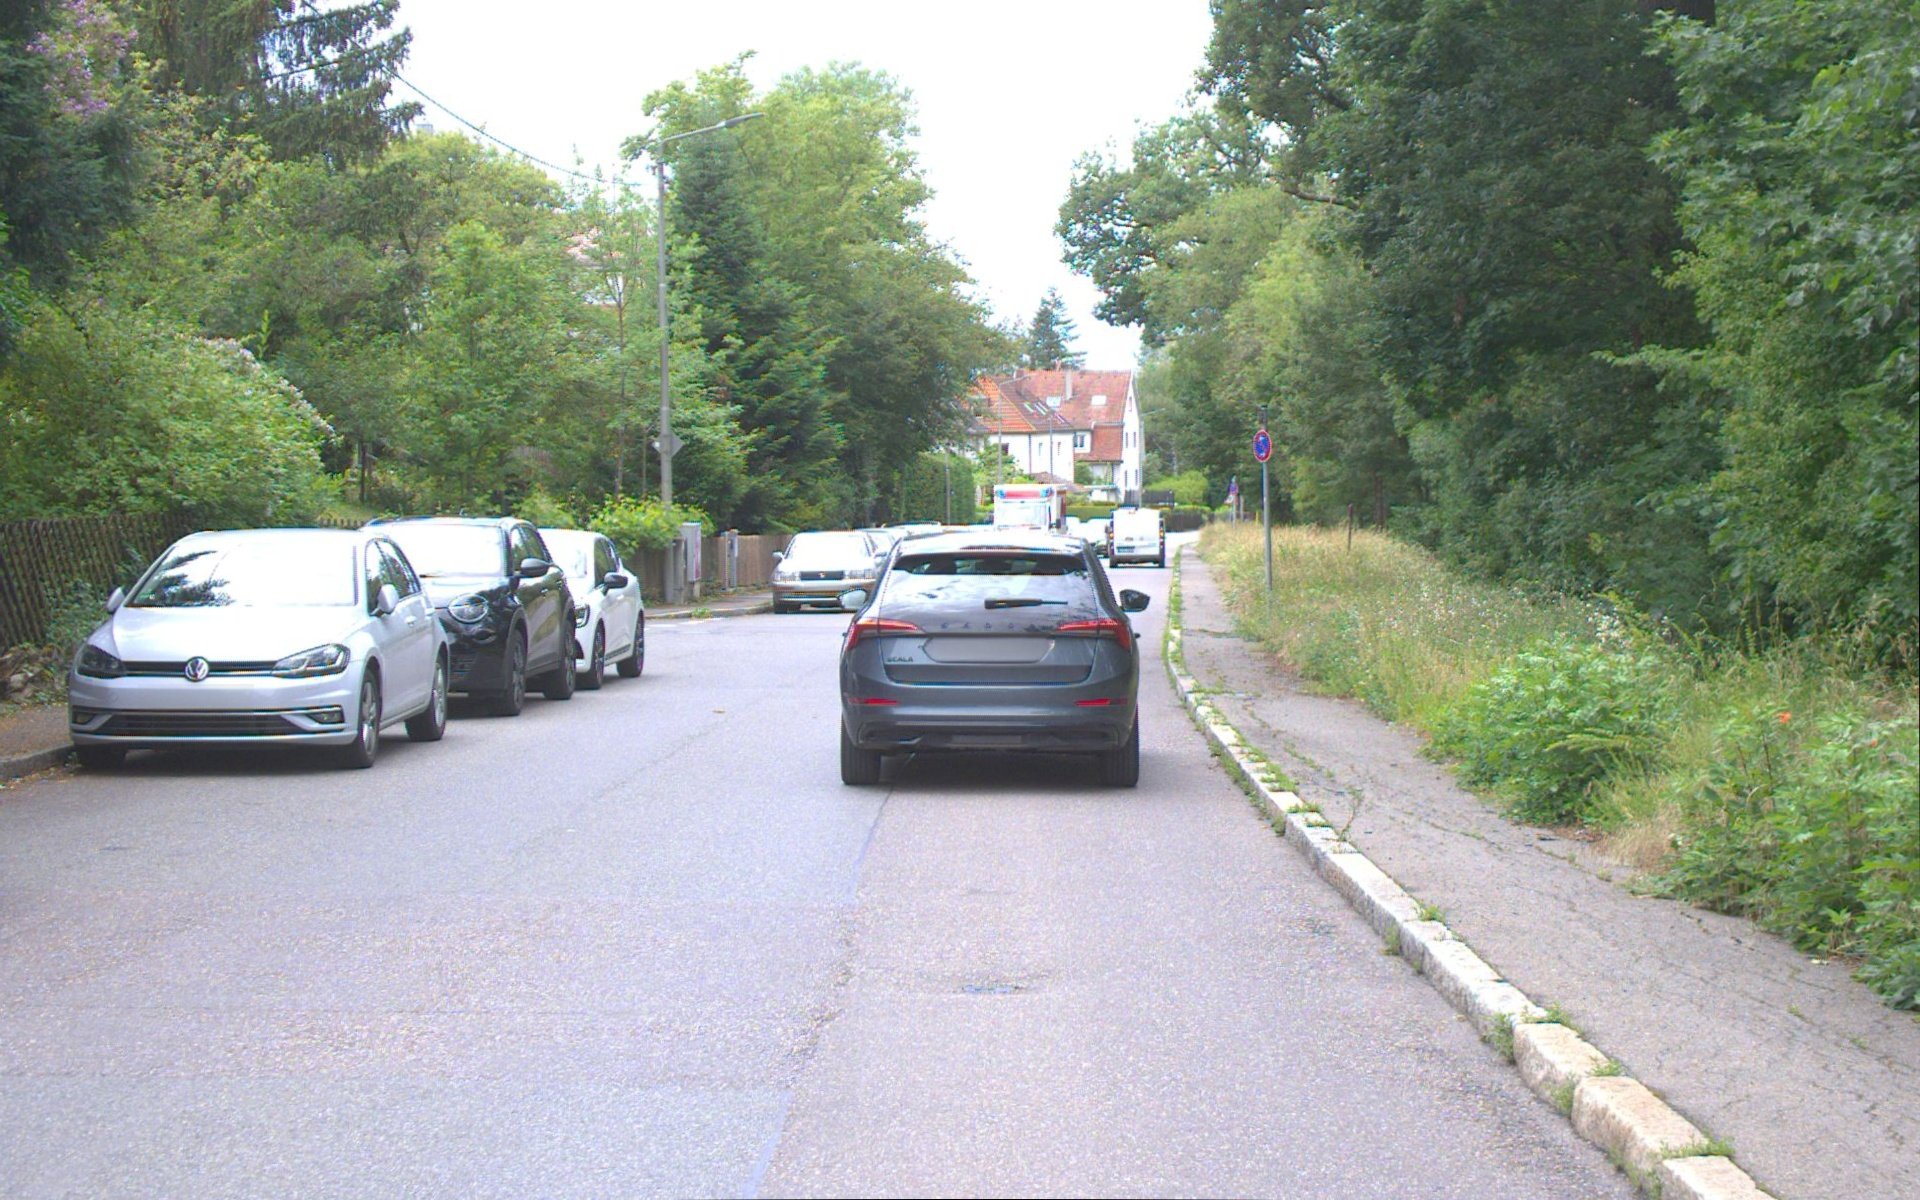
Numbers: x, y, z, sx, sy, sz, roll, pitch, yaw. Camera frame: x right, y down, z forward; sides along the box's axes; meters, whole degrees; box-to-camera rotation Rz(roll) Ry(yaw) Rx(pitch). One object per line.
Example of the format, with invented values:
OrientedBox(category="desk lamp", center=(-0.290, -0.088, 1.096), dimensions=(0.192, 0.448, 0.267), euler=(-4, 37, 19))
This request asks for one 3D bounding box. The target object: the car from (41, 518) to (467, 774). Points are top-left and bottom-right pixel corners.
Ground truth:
OrientedBox(category="car", center=(-4.386, 0.214, 21.995), dimensions=(1.783, 1.434, 4.324), euler=(1, 2, 1))

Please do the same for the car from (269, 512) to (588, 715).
OrientedBox(category="car", center=(-4.167, 0.049, 27.538), dimensions=(1.783, 1.495, 4.015), euler=(1, 1, 2))

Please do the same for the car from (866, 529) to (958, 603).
OrientedBox(category="car", center=(-1.070, -0.811, 79.104), dimensions=(1.916, 1.556, 4.604), euler=(-2, 1, 1))

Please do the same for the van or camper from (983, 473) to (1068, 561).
OrientedBox(category="van or camper", center=(2.203, -2.840, 117.936), dimensions=(2.456, 2.885, 7.169), euler=(-1, 1, -2))

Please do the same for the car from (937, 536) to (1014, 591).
OrientedBox(category="car", center=(0.483, -1.100, 102.318), dimensions=(1.798, 1.499, 4.862), euler=(-2, 1, 5))

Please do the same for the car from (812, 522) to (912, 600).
OrientedBox(category="car", center=(-1.861, -0.776, 66.363), dimensions=(1.734, 1.434, 4.263), euler=(-1, 1, 1))

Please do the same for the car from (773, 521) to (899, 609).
OrientedBox(category="car", center=(-2.129, -0.641, 60.140), dimensions=(1.848, 1.434, 4.910), euler=(-1, 1, 2))

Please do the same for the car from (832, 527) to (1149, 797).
OrientedBox(category="car", center=(0.195, 0.294, 21.060), dimensions=(1.728, 1.434, 4.324), euler=(1, 2, 1))

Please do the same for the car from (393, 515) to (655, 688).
OrientedBox(category="car", center=(-3.993, -0.039, 32.083), dimensions=(1.783, 1.495, 4.015), euler=(1, 1, 2))

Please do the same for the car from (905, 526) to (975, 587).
OrientedBox(category="car", center=(-0.546, -1.142, 89.821), dimensions=(1.720, 1.499, 4.008), euler=(-2, 1, -1))

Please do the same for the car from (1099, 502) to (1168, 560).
OrientedBox(category="car", center=(5.848, -2.361, 116.334), dimensions=(2.071, 1.915, 4.923), euler=(1, 2, 0))
